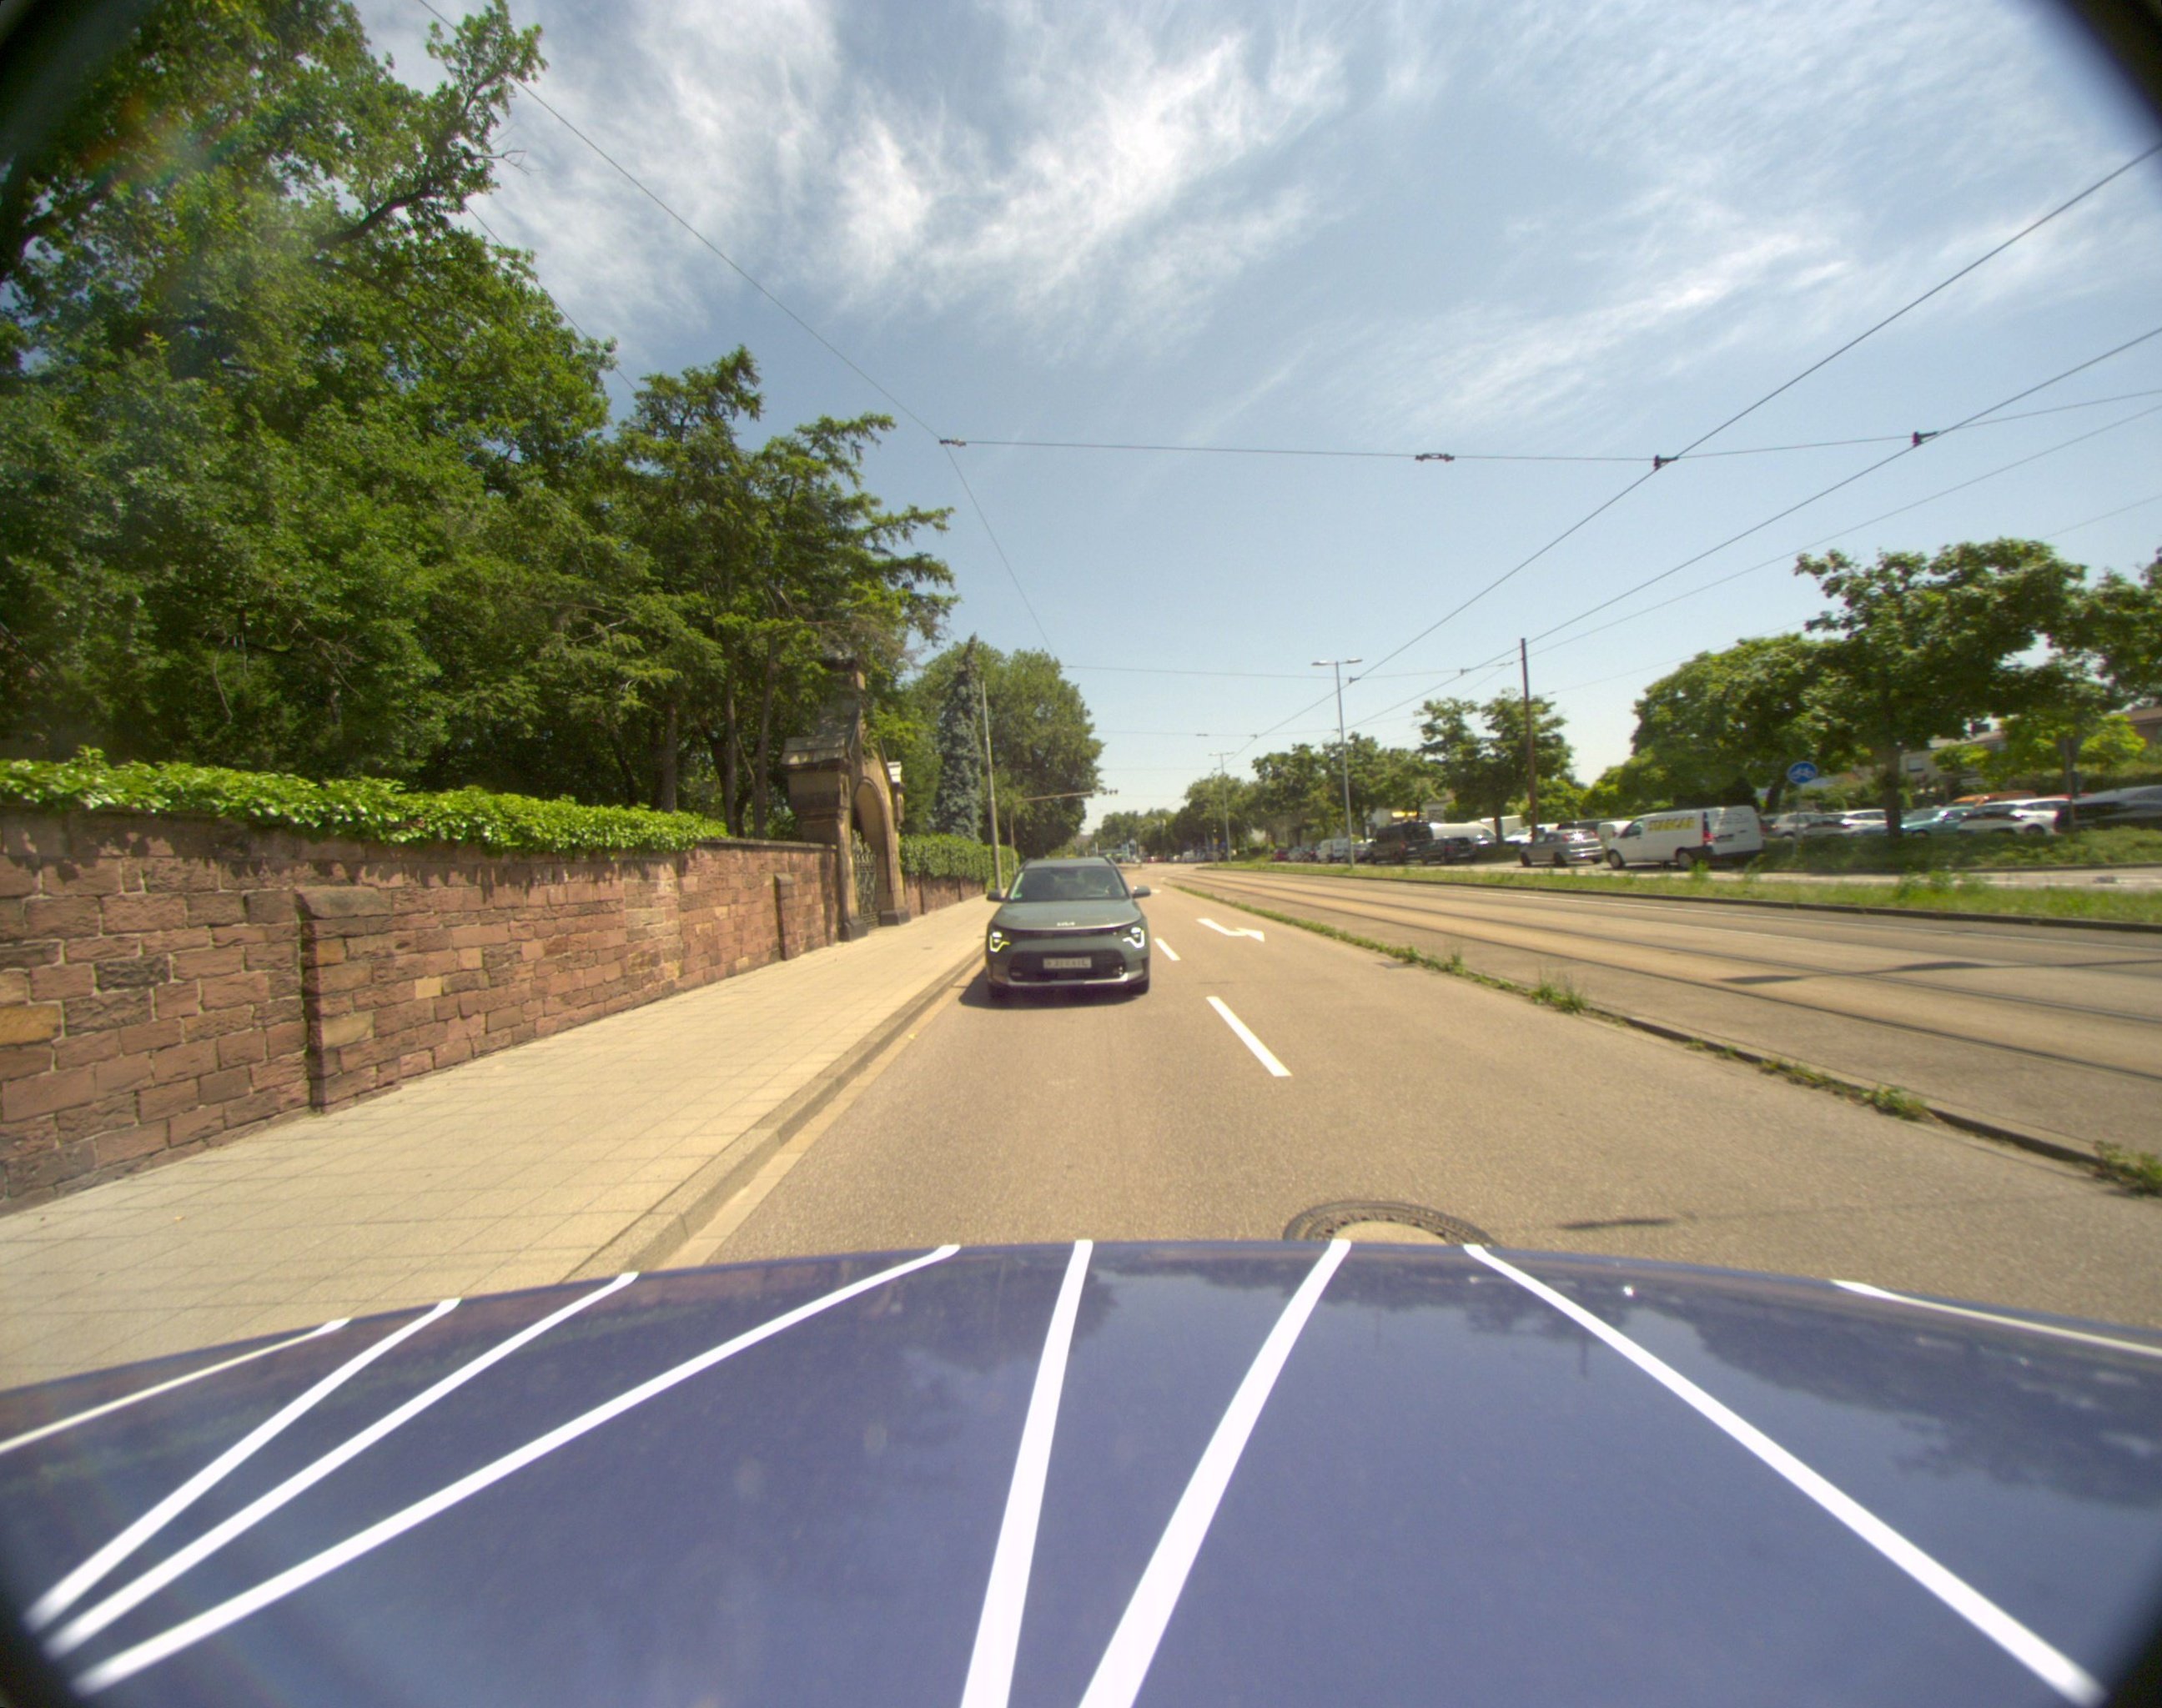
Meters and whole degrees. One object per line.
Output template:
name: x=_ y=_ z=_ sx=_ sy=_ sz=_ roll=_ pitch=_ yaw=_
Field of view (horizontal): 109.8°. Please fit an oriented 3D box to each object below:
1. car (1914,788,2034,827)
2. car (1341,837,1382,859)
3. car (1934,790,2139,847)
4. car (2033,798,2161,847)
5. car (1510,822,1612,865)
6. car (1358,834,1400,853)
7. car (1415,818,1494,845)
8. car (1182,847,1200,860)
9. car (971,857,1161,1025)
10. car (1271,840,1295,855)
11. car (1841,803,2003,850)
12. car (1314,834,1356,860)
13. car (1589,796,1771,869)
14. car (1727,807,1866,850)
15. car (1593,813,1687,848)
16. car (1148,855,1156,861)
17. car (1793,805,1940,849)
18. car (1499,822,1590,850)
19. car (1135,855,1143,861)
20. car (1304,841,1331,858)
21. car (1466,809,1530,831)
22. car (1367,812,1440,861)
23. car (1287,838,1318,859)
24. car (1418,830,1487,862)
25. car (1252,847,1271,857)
car: x=43.710 y=-2.258 z=37.216 sx=4.129 sy=1.643 sz=1.692 roll=-3 pitch=0 yaw=-5
car: x=20.662 y=-0.446 z=56.102 sx=1.767 sy=1.456 sz=3.608 roll=-3 pitch=1 yaw=2
car: x=31.054 y=-1.124 z=24.794 sx=4.171 sy=1.481 sz=1.984 roll=-4 pitch=0 yaw=0
car: x=30.447 y=-0.947 z=22.229 sx=3.423 sy=1.225 sz=1.643 roll=-4 pitch=0 yaw=-6
car: x=20.101 y=-0.434 z=32.050 sx=1.654 sy=1.494 sz=4.126 roll=-7 pitch=0 yaw=2
car: x=32.825 y=-1.144 z=83.734 sx=3.999 sy=1.863 sz=1.715 roll=-3 pitch=1 yaw=-5
car: x=30.544 y=-1.808 z=62.292 sx=5.434 sy=1.944 sz=2.029 roll=-3 pitch=1 yaw=3
car: x=16.662 y=-0.104 z=115.246 sx=1.821 sy=1.979 sz=4.212 roll=-3 pitch=1 yaw=-2
car: x=-0.147 y=0.888 z=9.796 sx=1.824 sy=1.577 sz=4.287 roll=-3 pitch=0 yaw=0
car: x=20.904 y=-0.664 z=78.718 sx=1.582 sy=1.471 sz=3.423 roll=-3 pitch=1 yaw=3
car: x=30.347 y=-0.968 z=27.482 sx=4.040 sy=1.481 sz=1.912 roll=-3 pitch=1 yaw=-6
car: x=20.671 y=-0.607 z=61.954 sx=1.924 sy=1.937 sz=4.817 roll=-3 pitch=1 yaw=2
car: x=19.949 y=-0.665 z=25.715 sx=1.880 sy=1.999 sz=5.344 roll=-7 pitch=0 yaw=2
car: x=30.386 y=-1.065 z=32.351 sx=4.163 sy=1.481 sz=2.023 roll=-4 pitch=0 yaw=-6
car: x=31.629 y=-1.310 z=43.086 sx=3.998 sy=1.707 sz=1.797 roll=-4 pitch=0 yaw=-3
car: x=16.637 y=0.934 z=178.514 sx=1.820 sy=1.471 sz=3.423 roll=-3 pitch=1 yaw=3
car: x=30.882 y=-1.048 z=29.936 sx=4.145 sy=1.481 sz=1.859 roll=-3 pitch=1 yaw=-6
car: x=31.280 y=-1.207 z=51.368 sx=4.926 sy=1.567 sz=2.000 roll=-4 pitch=0 yaw=-2
car: x=15.127 y=1.094 z=198.436 sx=1.781 sy=1.310 sz=3.754 roll=-3 pitch=1 yaw=-1
car: x=20.961 y=-0.419 z=67.453 sx=1.429 sy=1.470 sz=3.262 roll=-3 pitch=1 yaw=1
car: x=45.132 y=-3.627 z=82.324 sx=5.744 sy=2.051 sz=2.147 roll=-3 pitch=1 yaw=-2
car: x=20.269 y=-1.089 z=48.045 sx=2.243 sy=2.821 sz=5.667 roll=-3 pitch=1 yaw=2
car: x=20.999 y=-0.534 z=72.224 sx=1.635 sy=1.882 sz=4.496 roll=-3 pitch=1 yaw=1
car: x=20.320 y=-0.437 z=41.687 sx=1.975 sy=1.568 sz=3.752 roll=-3 pitch=1 yaw=2
car: x=21.564 y=-0.235 z=90.771 sx=1.582 sy=1.152 sz=3.423 roll=-3 pitch=1 yaw=3
